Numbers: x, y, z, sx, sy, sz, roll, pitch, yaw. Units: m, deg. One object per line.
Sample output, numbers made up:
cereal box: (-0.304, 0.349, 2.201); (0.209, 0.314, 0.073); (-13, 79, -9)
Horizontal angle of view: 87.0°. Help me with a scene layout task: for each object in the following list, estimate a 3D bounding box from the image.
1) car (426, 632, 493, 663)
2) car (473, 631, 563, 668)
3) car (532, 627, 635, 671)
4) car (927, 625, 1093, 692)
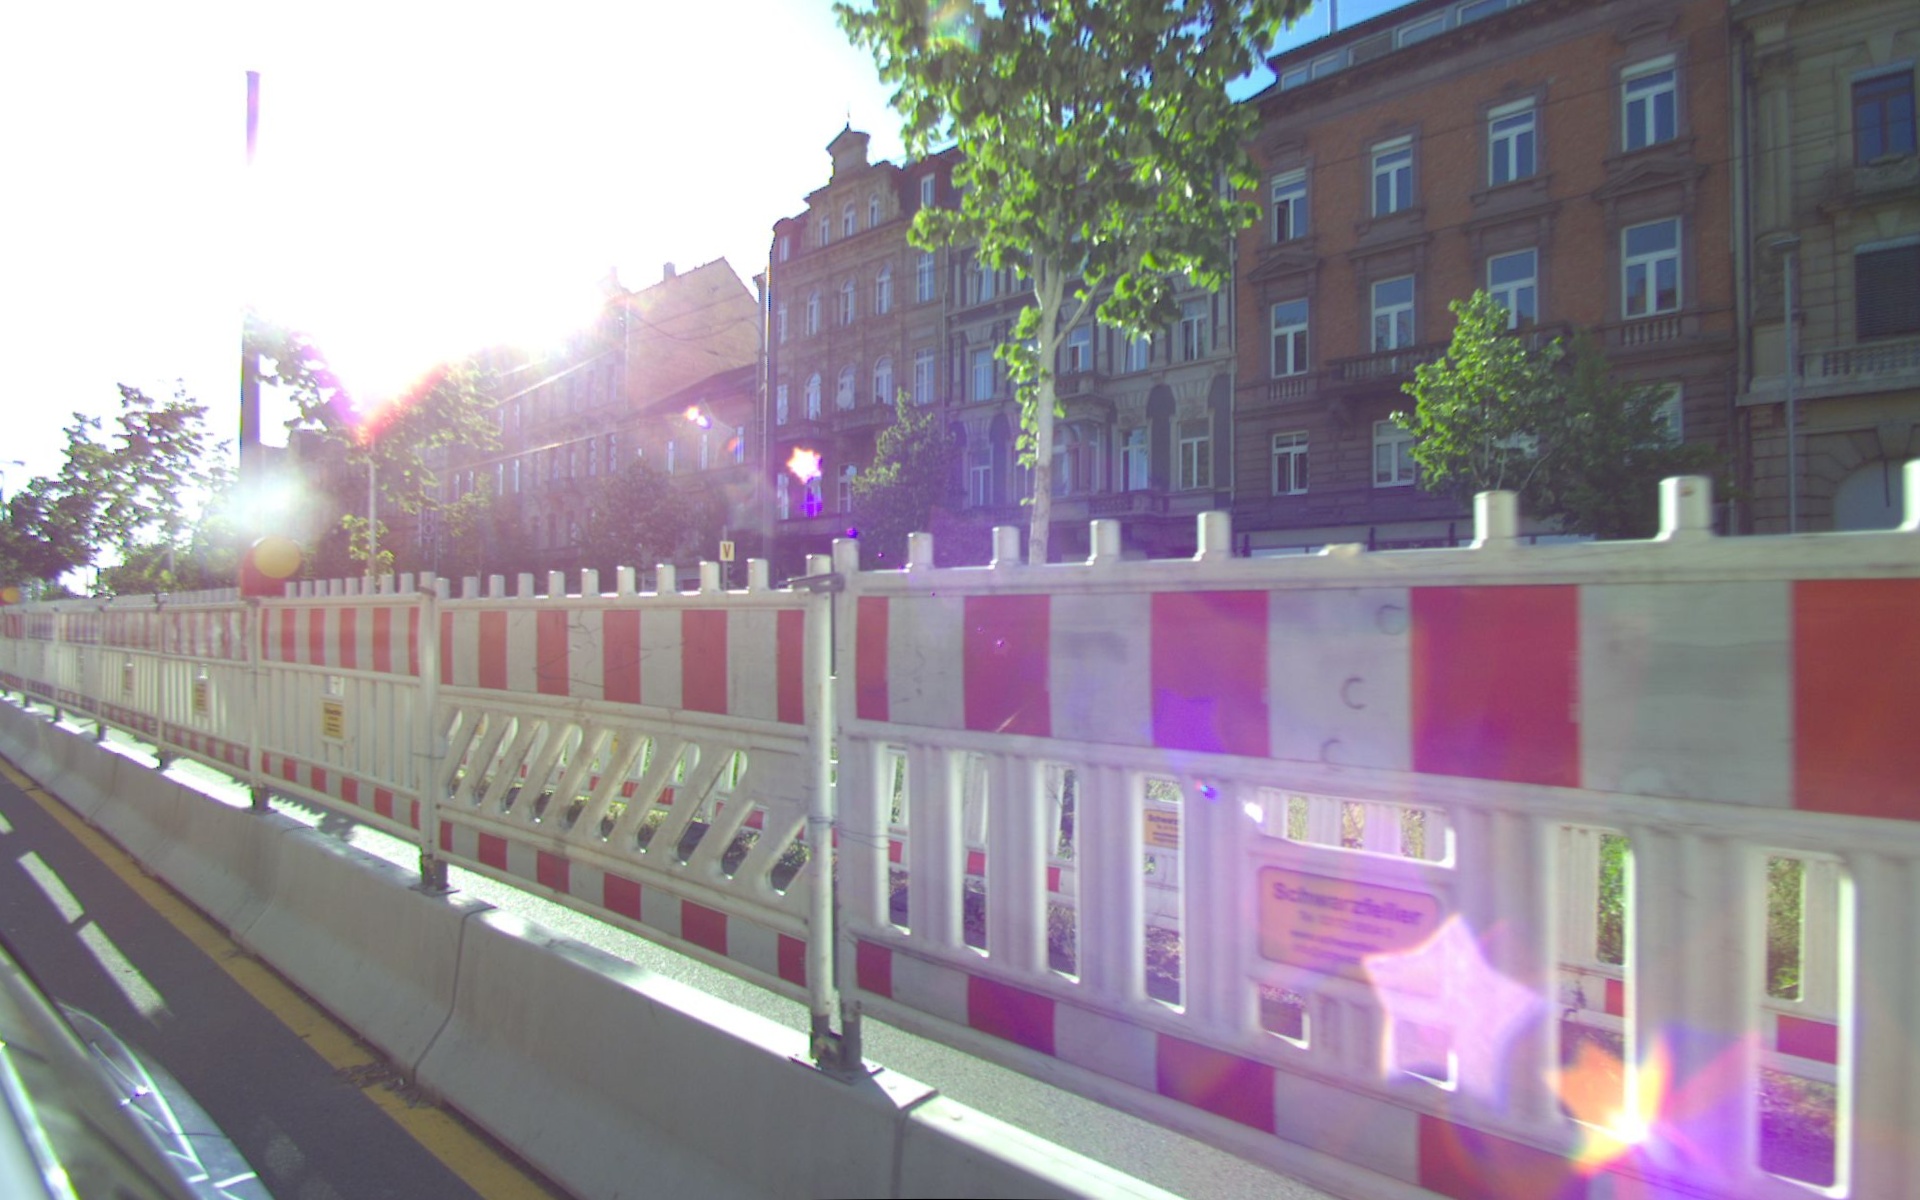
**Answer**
car: (-25.685, 2.408, 51.881); (4.026, 1.490, 1.730); (-2, 0, 42)
car: (-20.726, 2.277, 47.400); (4.983, 1.549, 1.972); (-2, 0, 42)
car: (-16.104, 2.039, 43.163); (4.885, 1.710, 1.973); (-2, 0, 41)
car: (1.348, 1.596, 28.802); (4.545, 1.671, 1.917); (-2, 0, 43)
